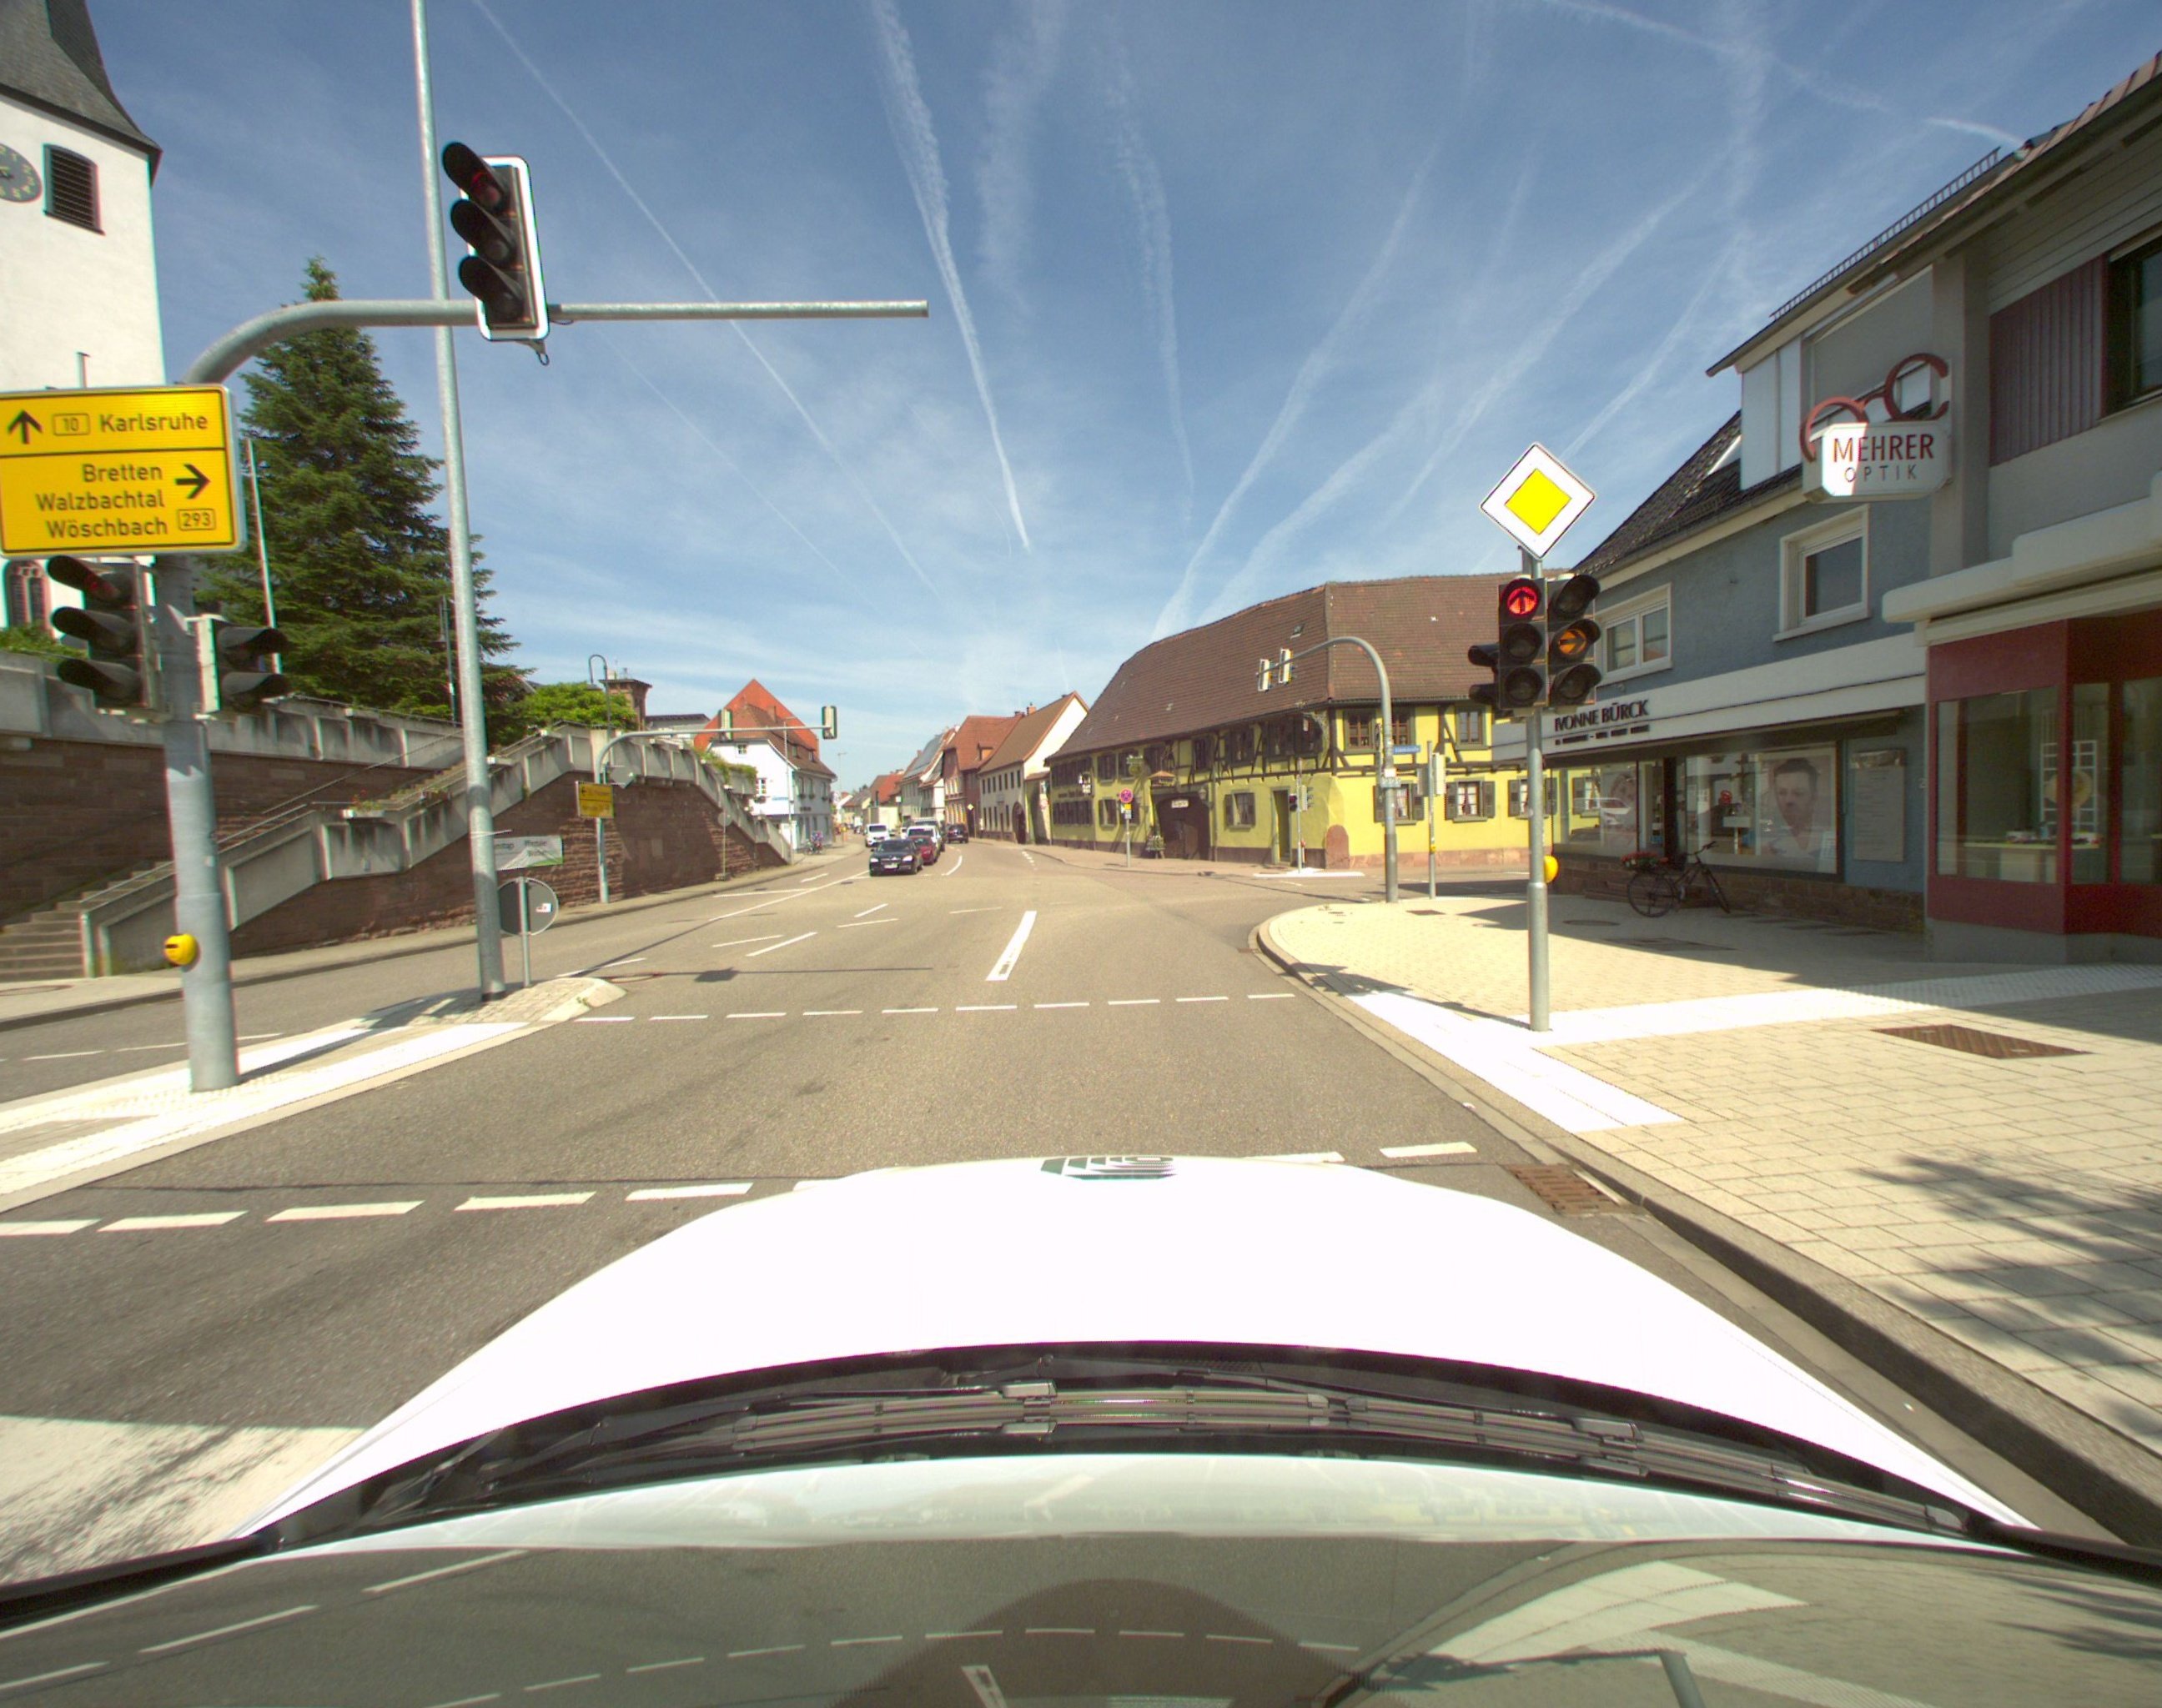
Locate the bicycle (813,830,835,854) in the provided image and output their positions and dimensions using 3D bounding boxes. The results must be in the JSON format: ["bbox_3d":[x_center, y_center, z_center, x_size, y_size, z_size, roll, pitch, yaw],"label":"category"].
[{"bbox_3d":[-17.599,-0.827,55.815,0.555,1.607,2.565,0,2,3],"label":"bicycle"}]

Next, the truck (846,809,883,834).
[{"bbox_3d":[-32.061,-4.771,120.437,3.177,3.460,10.619,0,1,-27],"label":"truck"}]

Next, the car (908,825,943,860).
[{"bbox_3d":[-9.227,-0.755,48.590,1.820,1.905,4.950,-2,3,-9],"label":"car"}]

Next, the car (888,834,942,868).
[{"bbox_3d":[-8.466,-0.209,41.914,2.156,1.515,4.939,-1,3,-5],"label":"car"}]

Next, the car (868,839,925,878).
[{"bbox_3d":[-7.811,0.123,34.799,1.818,1.434,4.240,-2,2,-6],"label":"car"}]

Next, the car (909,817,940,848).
[{"bbox_3d":[-12.111,-1.681,62.834,1.763,2.245,4.525,0,2,-18],"label":"car"}]

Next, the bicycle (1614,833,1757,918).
[{"bbox_3d":[9.455,0.321,12.774,1.796,1.234,0.550,-3,1,2],"label":"bicycle"}]

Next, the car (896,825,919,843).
[{"bbox_3d":[-16.367,-1.899,76.780,1.790,1.526,3.984,-3,3,-16],"label":"car"}]

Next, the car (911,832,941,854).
[{"bbox_3d":[-10.500,-0.759,55.005,1.579,1.383,3.538,0,2,-19],"label":"car"}]

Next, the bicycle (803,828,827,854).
[{"bbox_3d":[-18.350,-0.909,56.308,0.638,1.779,2.673,0,2,3],"label":"bicycle"}]

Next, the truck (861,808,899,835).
[{"bbox_3d":[-27.674,-4.458,111.554,3.240,3.548,9.153,-1,2,-26],"label":"truck"}]

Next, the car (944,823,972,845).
[{"bbox_3d":[-10.725,-1.744,70.877,1.825,1.738,3.984,-3,3,-16],"label":"car"}]

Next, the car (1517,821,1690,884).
[{"bbox_3d":[14.835,-0.045,23.282,3.783,1.663,1.812,-1,1,3],"label":"car"}]

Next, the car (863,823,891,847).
[{"bbox_3d":[-18.014,-1.690,71.793,2.142,1.966,5.249,-3,2,-16],"label":"car"}]
